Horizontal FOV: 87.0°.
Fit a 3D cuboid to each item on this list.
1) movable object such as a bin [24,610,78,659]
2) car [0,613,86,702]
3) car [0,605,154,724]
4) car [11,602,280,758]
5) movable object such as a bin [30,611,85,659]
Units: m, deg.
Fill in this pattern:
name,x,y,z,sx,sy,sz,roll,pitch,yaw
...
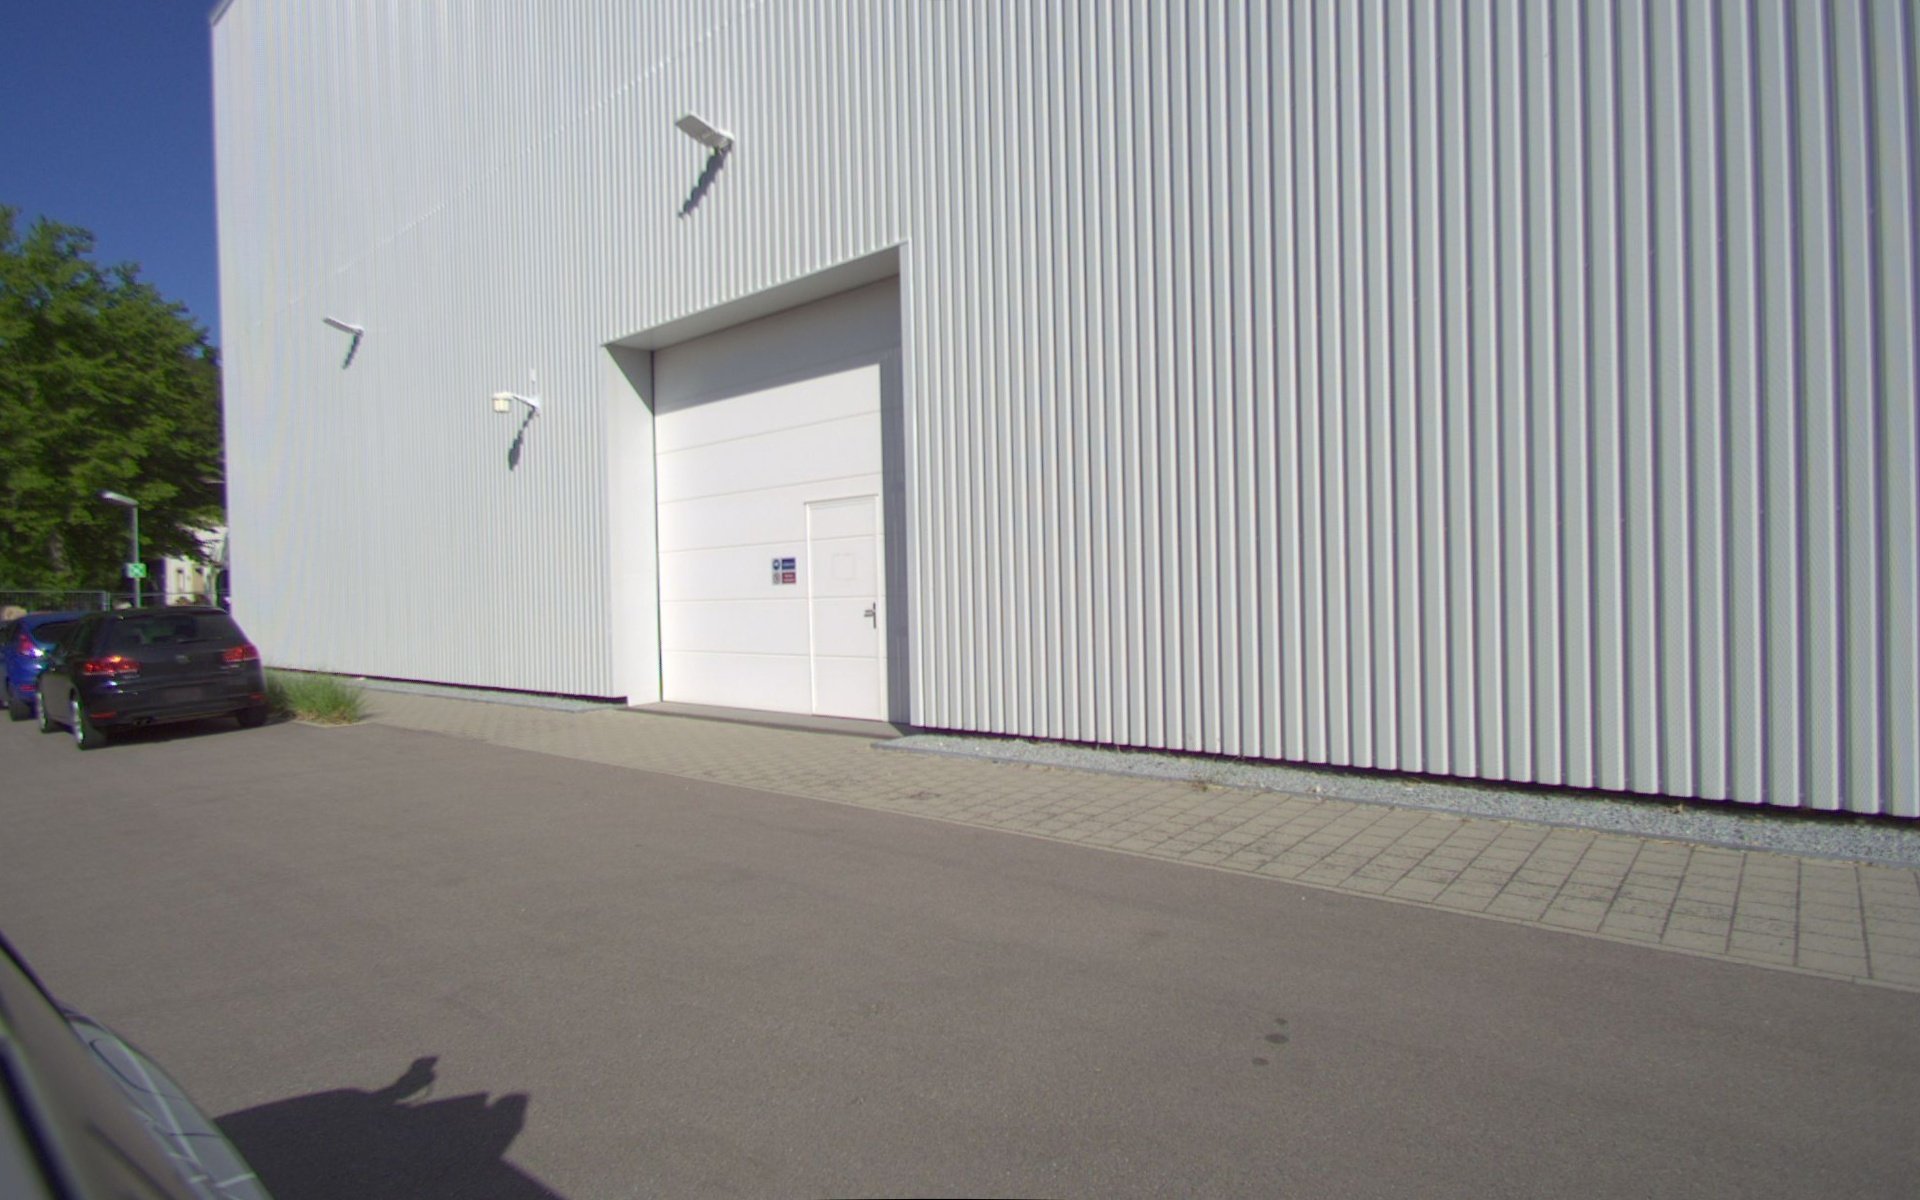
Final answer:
name,x,y,z,sx,sy,sz,roll,pitch,yaw
movable object such as a bin,-28.831,1.094,32.096,1.279,1.489,1.126,-3,-3,41
car,-17.742,1.052,18.712,3.794,1.459,1.695,-2,1,39
car,-13.542,0.910,15.152,3.518,1.499,1.533,-2,1,39
car,-9.920,0.857,12.204,4.312,1.456,1.738,-2,2,41
movable object such as a bin,-27.811,1.066,31.192,1.288,1.445,1.126,-2,-2,41
